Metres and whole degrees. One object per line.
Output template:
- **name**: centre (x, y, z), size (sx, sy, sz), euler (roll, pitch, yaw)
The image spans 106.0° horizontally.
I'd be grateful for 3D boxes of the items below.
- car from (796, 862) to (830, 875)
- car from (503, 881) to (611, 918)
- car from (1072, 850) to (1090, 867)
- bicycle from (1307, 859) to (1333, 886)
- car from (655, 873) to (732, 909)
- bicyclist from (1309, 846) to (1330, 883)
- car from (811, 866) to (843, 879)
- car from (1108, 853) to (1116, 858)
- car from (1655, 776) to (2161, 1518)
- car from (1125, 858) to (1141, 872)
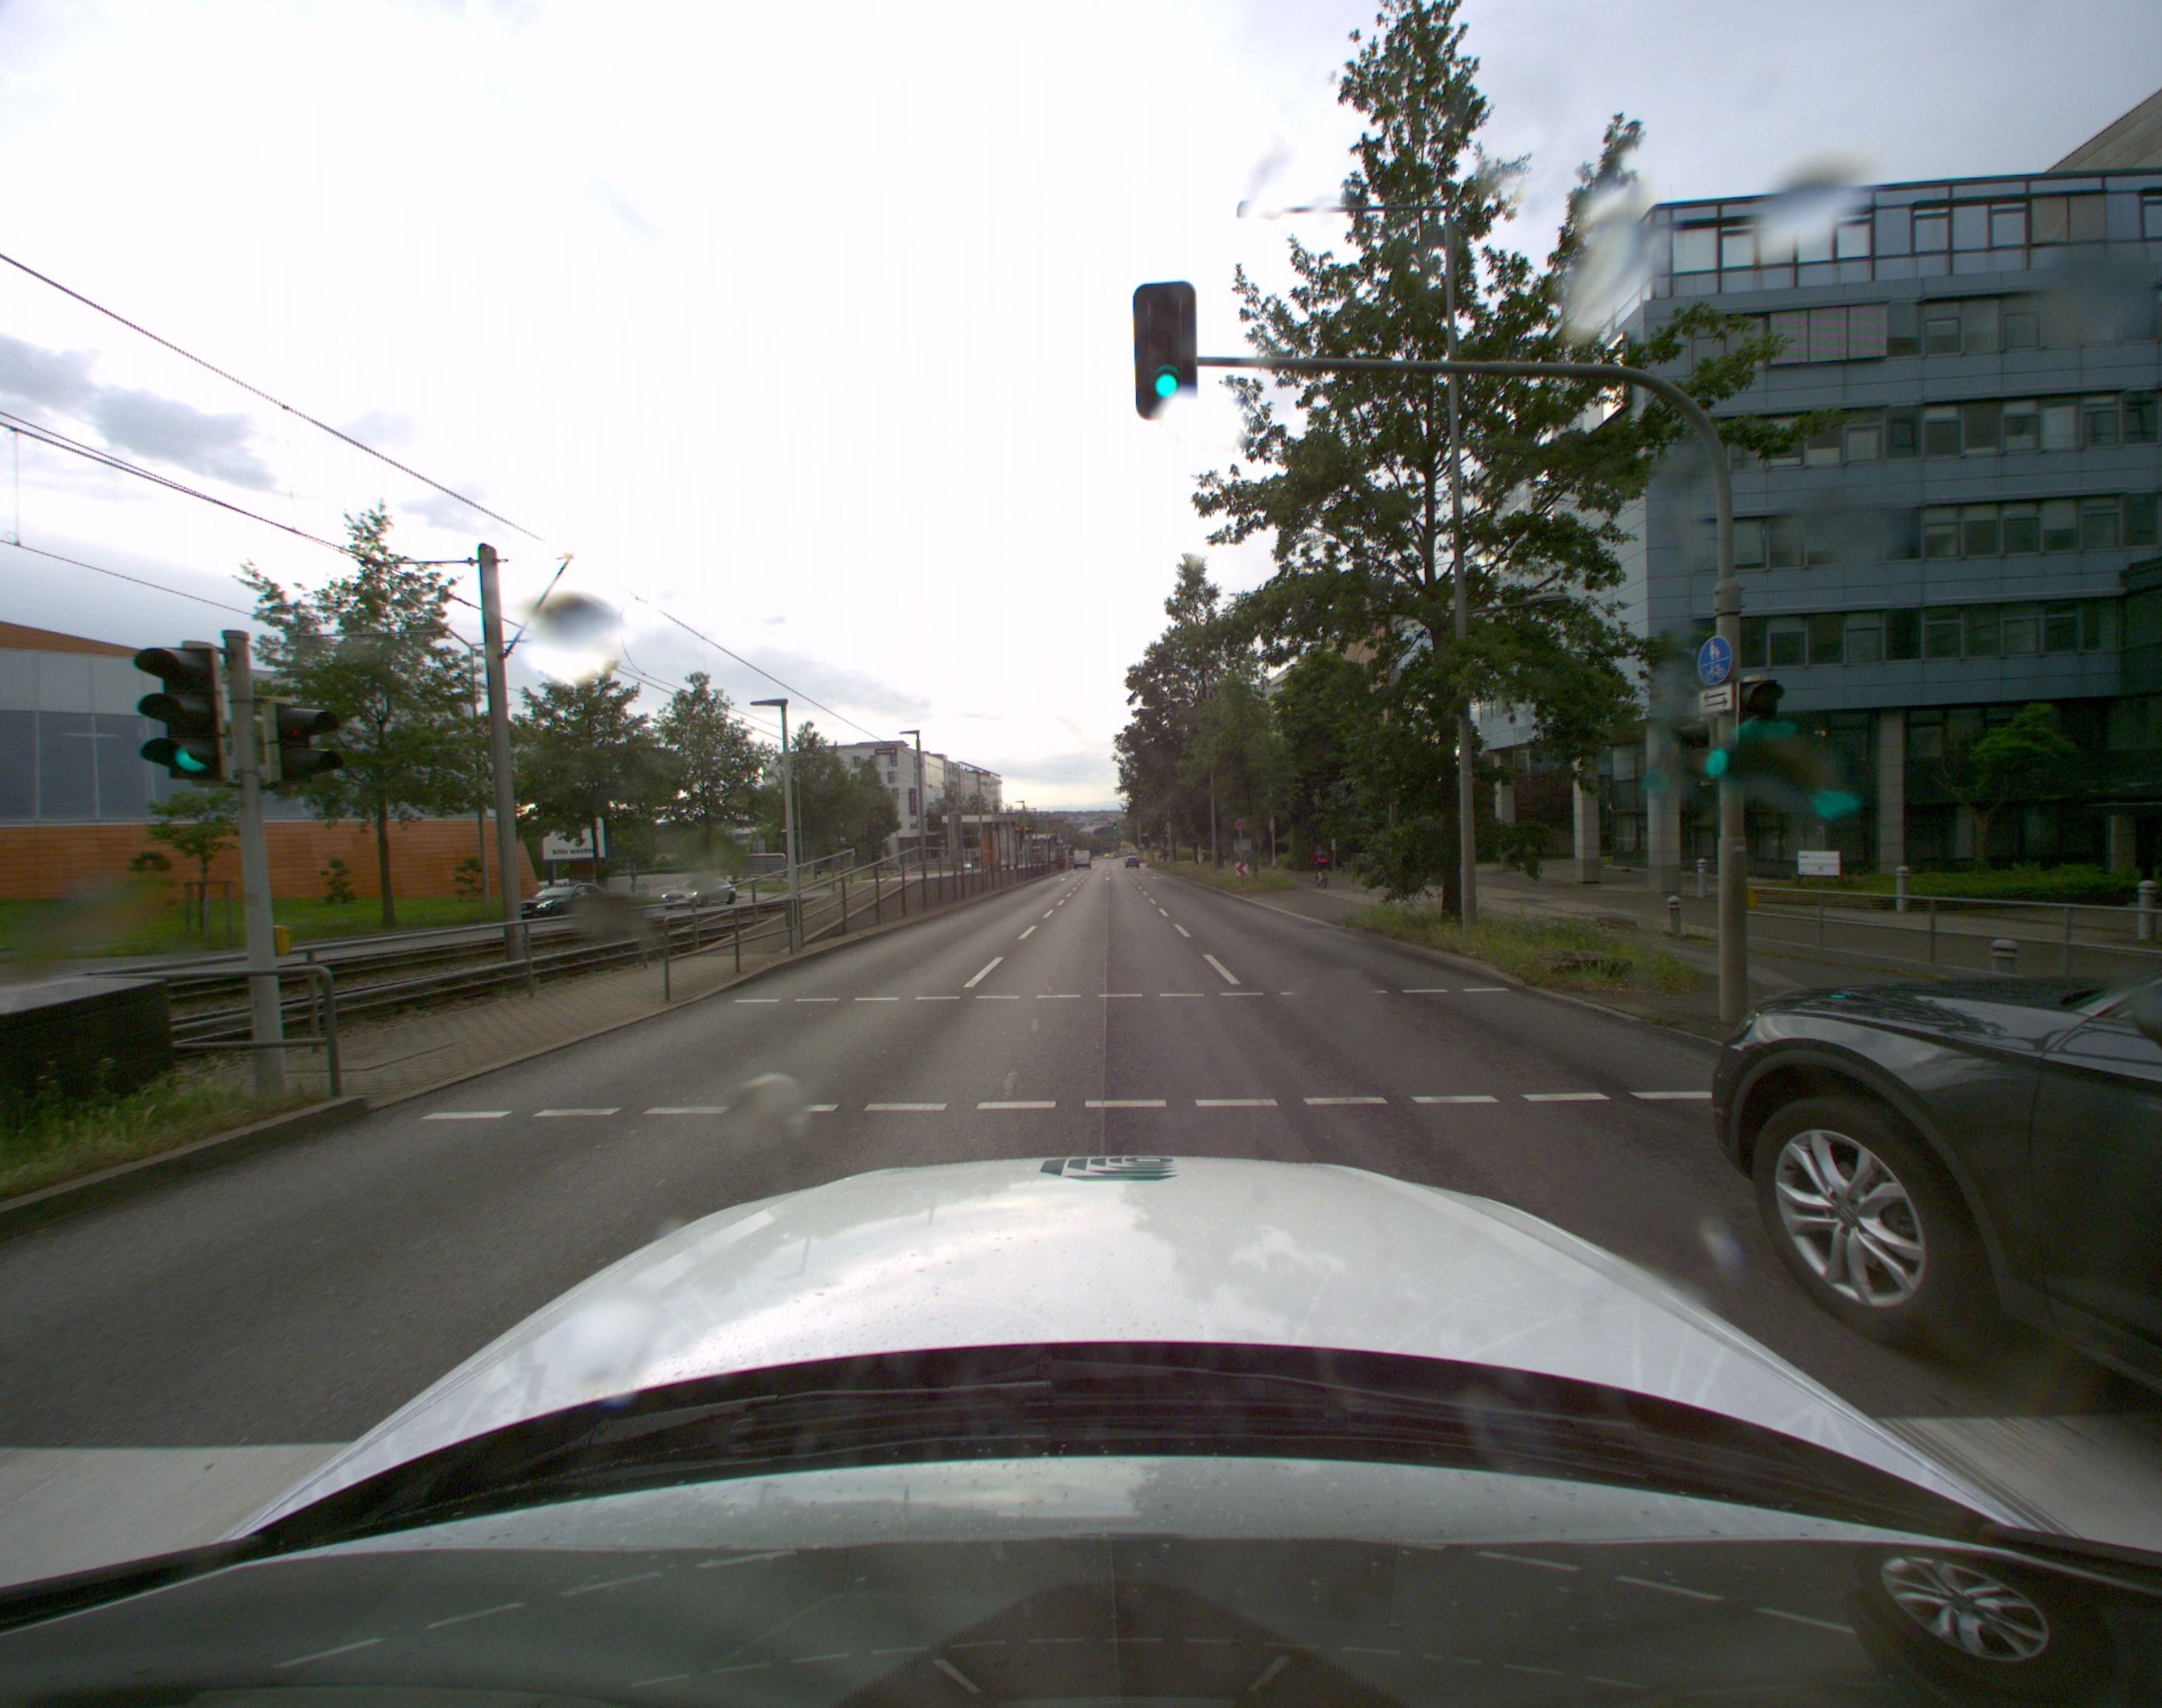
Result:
- **car**: centre (-30.053, 1.631, 91.265), size (3.341, 1.387, 1.440), euler (-1, 0, 18)
- **car**: centre (-20.923, 1.785, 32.706), size (1.644, 1.237, 3.970), euler (-1, 0, 2)
- **car**: centre (0.048, 0.549, 101.460), size (2.085, 2.054, 4.608), euler (-1, 0, 2)
- **bicycle**: centre (10.208, 0.776, 34.820), size (0.578, 1.088, 1.906), euler (0, 0, 2)
- **car**: centre (-18.118, 1.685, 38.255), size (1.645, 1.436, 3.880), euler (-4, 0, 1)
- **bicyclist**: centre (10.185, 0.440, 34.791), size (0.643, 1.579, 0.855), euler (0, 0, 2)
- **car**: centre (-29.618, 2.155, 94.976), size (3.341, 1.387, 1.440), euler (-1, 0, 18)
- **car**: centre (8.185, 0.401, 214.836), size (1.773, 1.390, 4.009), euler (-2, 0, 8)
- **car**: centre (3.222, 0.616, 1.101), size (1.811, 1.613, 4.472), euler (-1, 0, 2)
- **car**: centre (6.508, 1.337, 102.503), size (1.767, 1.691, 3.847), euler (-1, 0, 2)
